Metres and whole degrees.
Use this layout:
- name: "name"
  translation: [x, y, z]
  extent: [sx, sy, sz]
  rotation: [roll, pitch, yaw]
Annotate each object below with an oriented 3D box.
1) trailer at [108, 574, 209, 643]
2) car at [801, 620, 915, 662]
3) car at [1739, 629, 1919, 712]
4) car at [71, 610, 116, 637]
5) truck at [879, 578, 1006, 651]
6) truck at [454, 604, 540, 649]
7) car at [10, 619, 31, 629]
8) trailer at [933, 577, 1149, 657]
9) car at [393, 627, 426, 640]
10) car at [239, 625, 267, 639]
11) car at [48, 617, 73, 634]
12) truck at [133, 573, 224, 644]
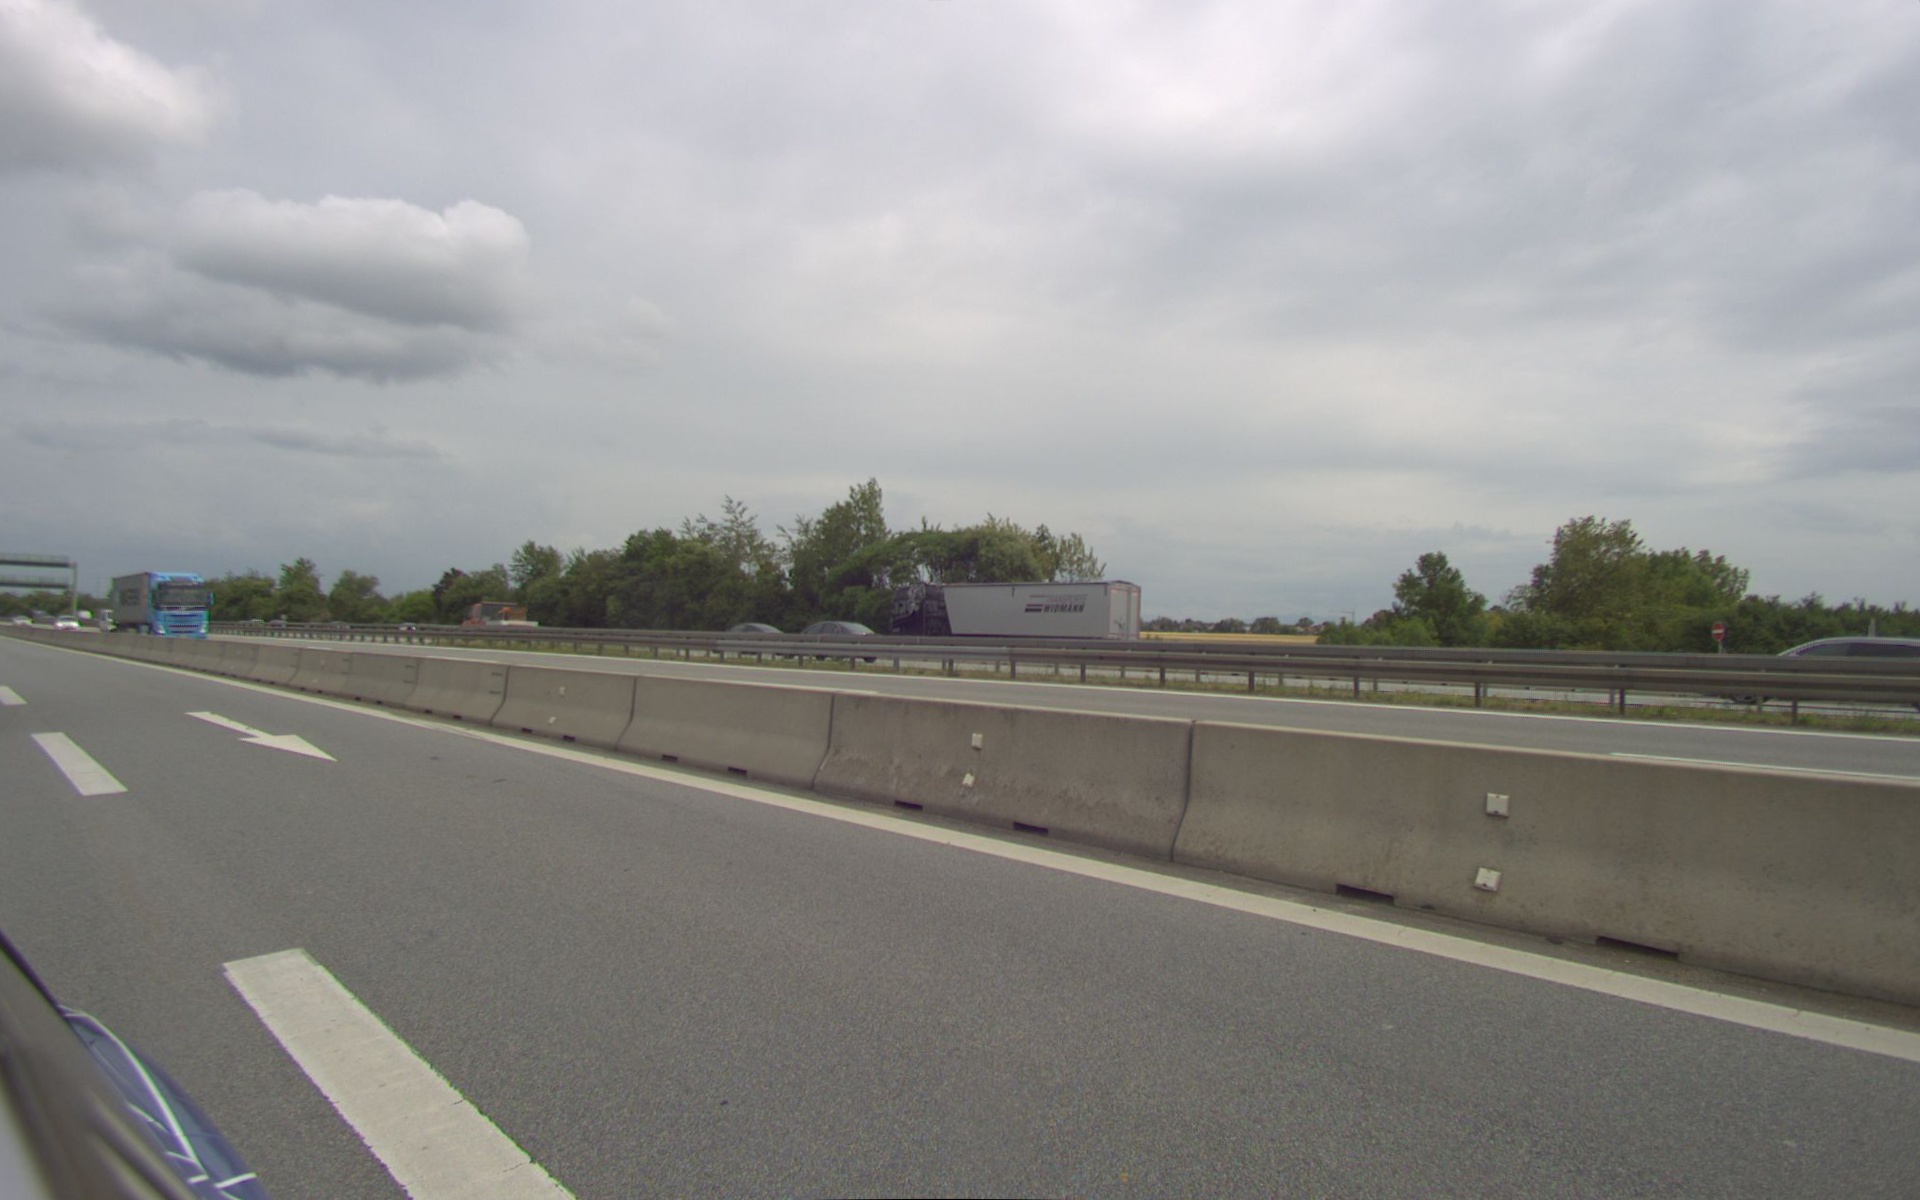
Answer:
- name: "trailer"
  translation: [-50.544, 0.559, 63.625]
  extent: [12.381, 3.954, 3.201]
  rotation: [-1, -1, 43]
- name: "car"
  translation: [-3.585, 1.369, 35.037]
  extent: [4.000, 1.380, 1.733]
  rotation: [-1, -2, 43]
- name: "car"
  translation: [17.815, 1.338, 19.731]
  extent: [4.005, 1.496, 1.668]
  rotation: [-1, -1, 44]
- name: "car"
  translation: [-65.074, 1.759, 75.985]
  extent: [5.132, 1.952, 1.978]
  rotation: [-1, 0, 43]
- name: "truck"
  translation: [-0.893, 0.723, 49.744]
  extent: [5.618, 3.355, 3.118]
  rotation: [-1, -1, 40]
- name: "truck"
  translation: [-26.246, 1.486, 57.275]
  extent: [6.201, 2.388, 2.251]
  rotation: [-1, -2, 43]
- name: "car"
  translation: [-128.403, 3.235, 138.313]
  extent: [4.204, 1.380, 1.733]
  rotation: [-1, -1, 42]
- name: "trailer"
  translation: [3.470, 0.790, 45.999]
  extent: [9.818, 3.294, 3.164]
  rotation: [-1, -1, 41]
- name: "car"
  translation: [-54.413, 3.312, 99.983]
  extent: [4.003, 1.201, 1.669]
  rotation: [-1, -2, 42]
- name: "car"
  translation: [-77.277, 3.451, 110.645]
  extent: [4.003, 1.480, 1.669]
  rotation: [-1, -1, 42]
- name: "car"
  translation: [-83.128, 2.326, 93.589]
  extent: [1.660, 1.496, 3.779]
  rotation: [1, -2, -41]
- name: "truck"
  translation: [-45.657, 0.524, 59.041]
  extent: [6.610, 3.941, 3.211]
  rotation: [-1, -1, 43]
